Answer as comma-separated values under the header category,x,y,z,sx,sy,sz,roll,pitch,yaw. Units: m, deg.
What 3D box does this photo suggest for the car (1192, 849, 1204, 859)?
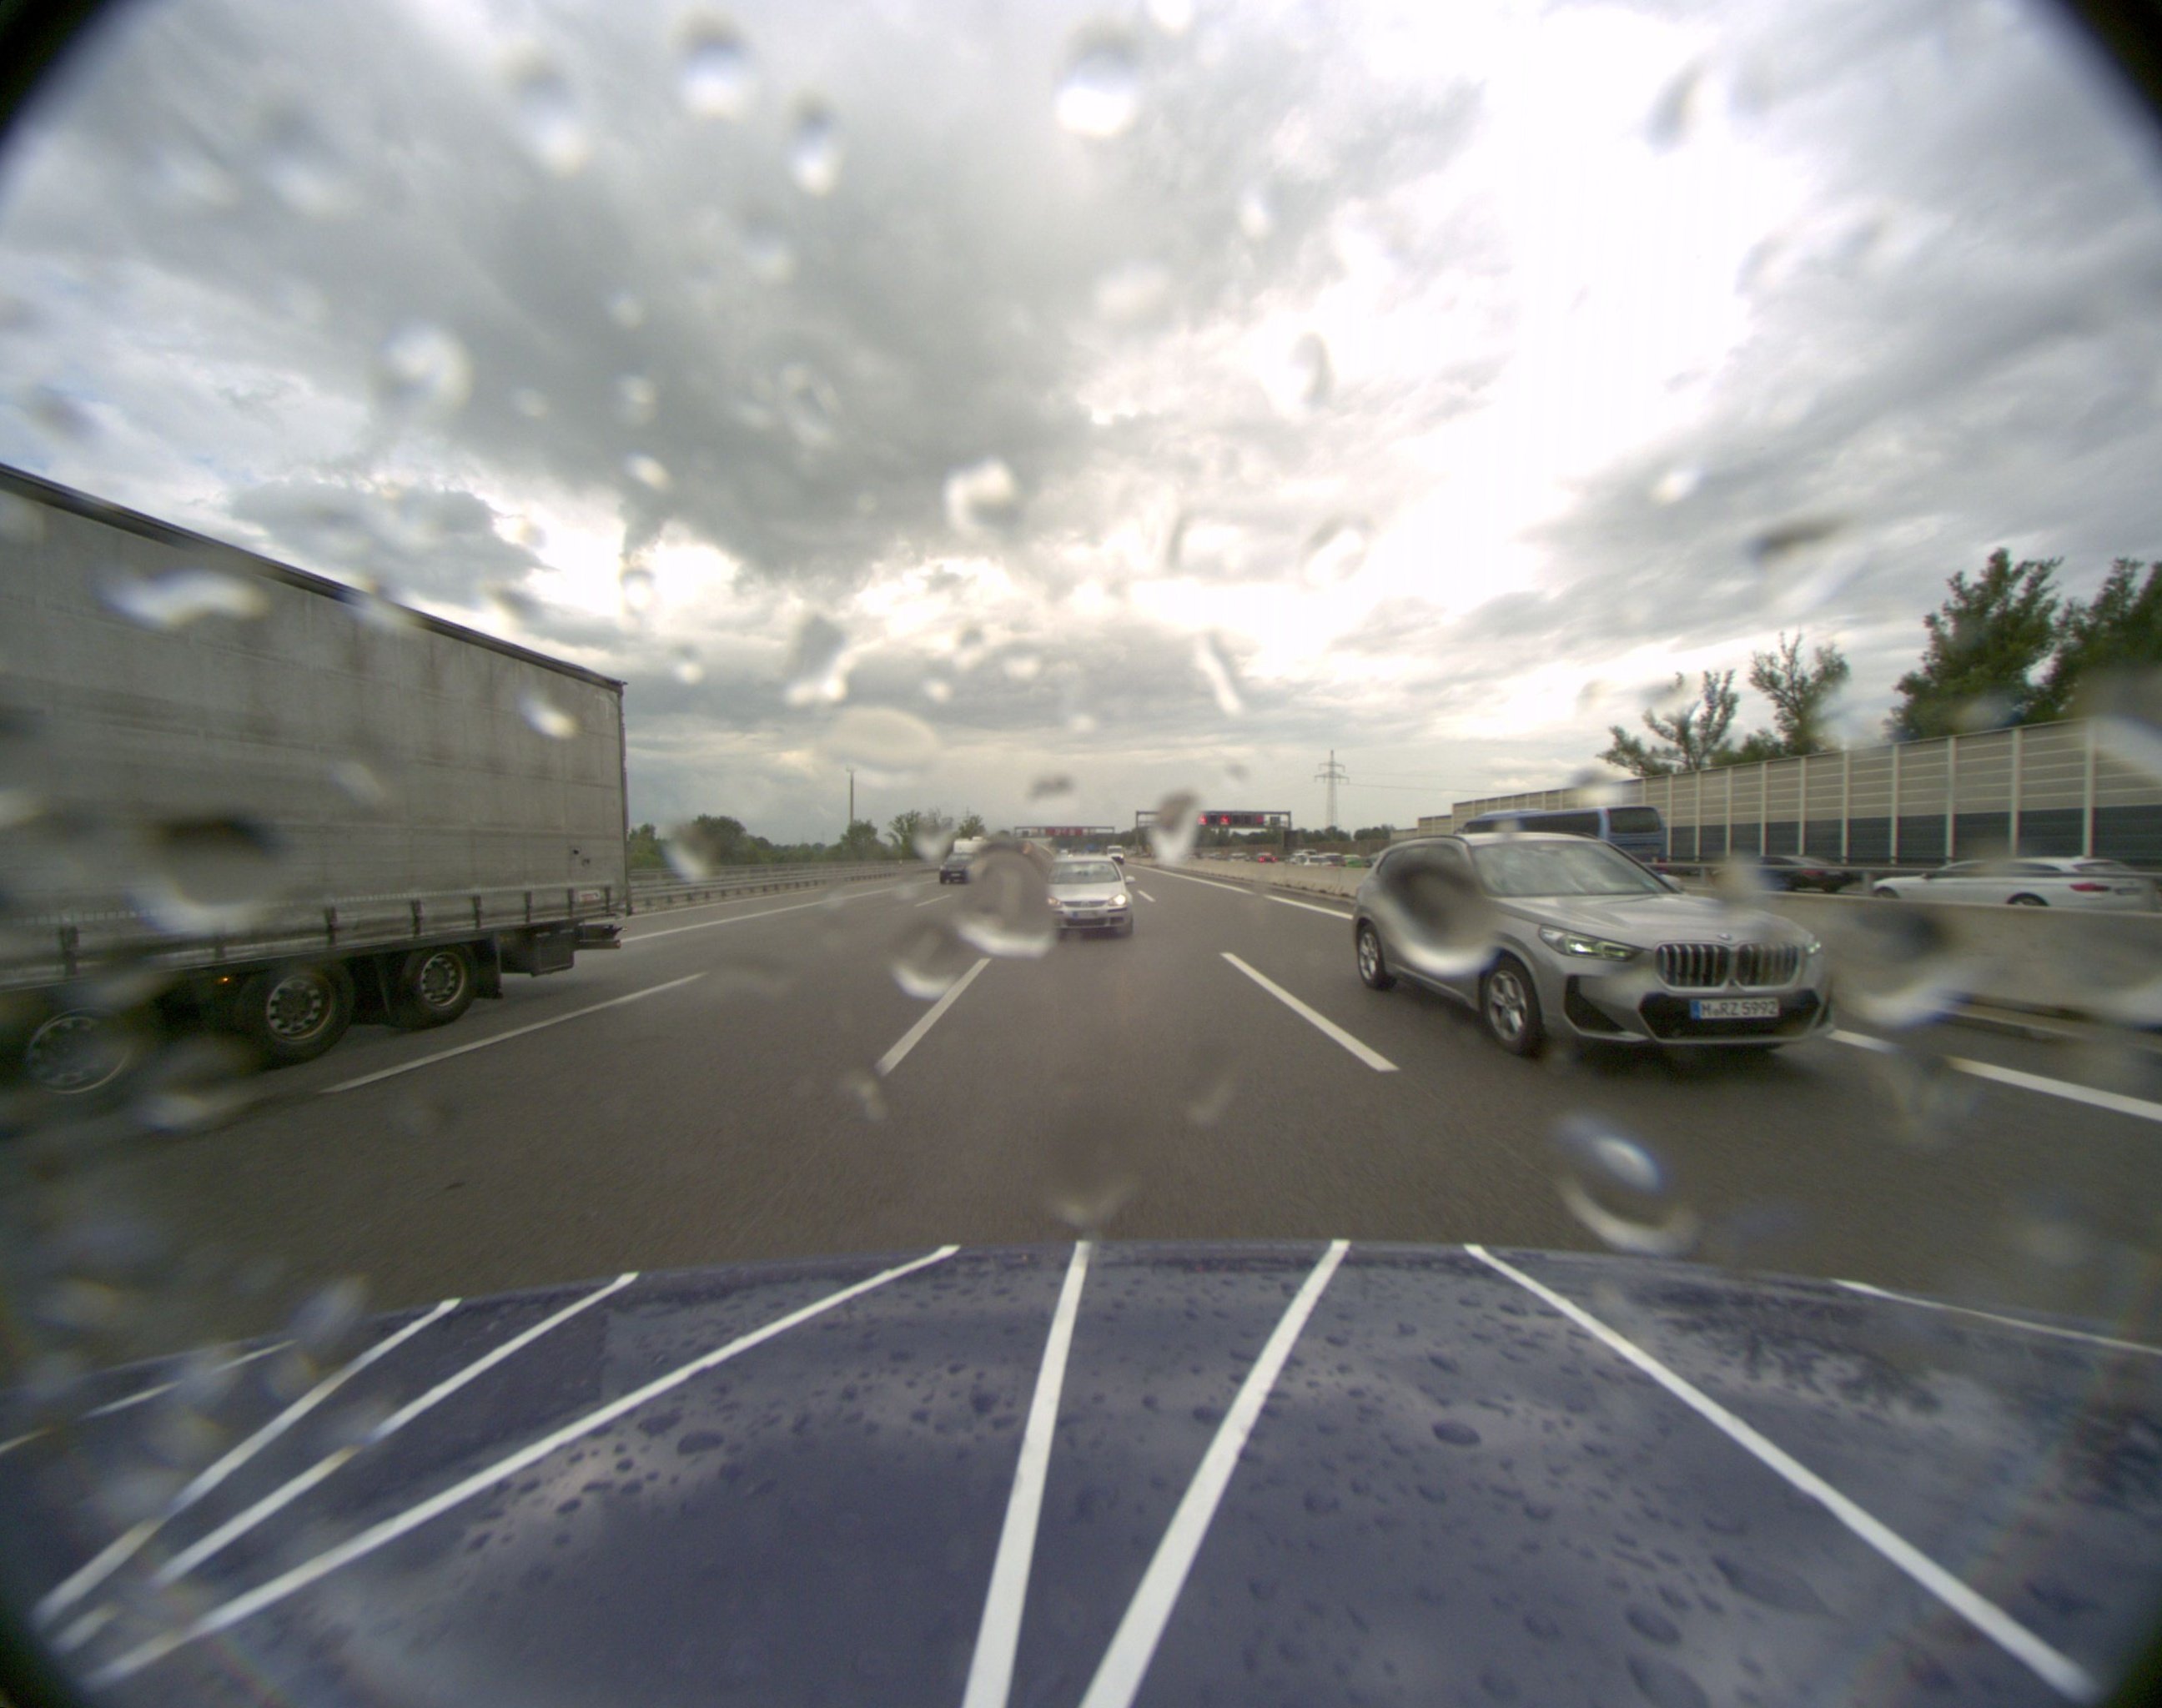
category,x,y,z,sx,sy,sz,roll,pitch,yaw
car,22.430,0.004,145.778,1.752,1.837,4.165,-1,0,-1

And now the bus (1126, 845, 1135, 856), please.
category,x,y,z,sx,sy,sz,roll,pitch,yaw
bus,17.407,-1.301,266.947,2.661,3.658,10.633,-1,0,0

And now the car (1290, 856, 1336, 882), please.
category,x,y,z,sx,sy,sz,roll,pitch,yaw
car,14.930,0.936,49.124,1.752,1.516,4.177,-1,0,1

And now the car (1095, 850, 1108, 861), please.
category,x,y,z,sx,sy,sz,roll,pitch,yaw
car,3.637,0.279,136.268,1.999,2.002,3.999,-2,0,-2

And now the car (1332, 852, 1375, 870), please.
category,x,y,z,sx,sy,sz,roll,pitch,yaw
car,22.270,0.575,62.259,1.752,1.422,4.715,-1,0,-1

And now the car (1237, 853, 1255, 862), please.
category,x,y,z,sx,sy,sz,roll,pitch,yaw
car,26.998,0.621,124.343,1.869,1.392,4.573,-1,0,-1

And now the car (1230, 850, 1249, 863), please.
category,x,y,z,sx,sy,sz,roll,pitch,yaw
car,19.017,0.265,91.280,1.625,1.571,3.619,-1,0,1

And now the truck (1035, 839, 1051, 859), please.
category,x,y,z,sx,sy,sz,roll,pitch,yaw
truck,-7.306,-0.900,147.120,2.870,3.633,9.593,-2,0,-1

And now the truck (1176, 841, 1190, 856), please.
category,x,y,z,sx,sy,sz,roll,pitch,yaw
truck,26.280,-1.357,195.337,2.759,3.865,6.050,-1,0,0

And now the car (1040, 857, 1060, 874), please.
category,x,y,z,sx,sy,sz,roll,pitch,yaw
car,-2.923,1.066,72.048,1.841,1.437,3.999,-1,0,-1

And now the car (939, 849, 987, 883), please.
category,x,y,z,sx,sy,sz,roll,pitch,yaw
car,-6.620,0.631,43.199,1.925,1.765,4.502,-2,0,1

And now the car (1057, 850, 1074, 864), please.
category,x,y,z,sx,sy,sz,roll,pitch,yaw
car,-1.992,0.354,97.297,1.999,1.701,3.999,-2,0,-2

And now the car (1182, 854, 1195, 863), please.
category,x,y,z,sx,sy,sz,roll,pitch,yaw
car,18.405,0.756,130.426,1.751,1.621,4.166,-1,0,2

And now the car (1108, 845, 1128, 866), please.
category,x,y,z,sx,sy,sz,roll,pitch,yaw
car,4.515,0.181,93.781,1.999,2.524,4.807,-2,0,-2

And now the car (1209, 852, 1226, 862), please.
category,x,y,z,sx,sy,sz,roll,pitch,yaw
car,22.165,0.447,123.628,1.826,1.621,4.525,-1,0,0

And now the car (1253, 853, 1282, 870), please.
category,x,y,z,sx,sy,sz,roll,pitch,yaw
car,19.161,0.747,78.223,1.939,1.601,4.177,-1,0,1

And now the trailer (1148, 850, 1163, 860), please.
category,x,y,z,sx,sy,sz,roll,pitch,yaw
trailer,13.904,0.204,142.027,2.149,1.699,6.046,-1,0,0

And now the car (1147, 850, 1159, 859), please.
category,x,y,z,sx,sy,sz,roll,pitch,yaw
car,14.017,0.141,147.471,1.821,1.699,4.806,-1,0,0

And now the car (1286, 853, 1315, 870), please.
category,x,y,z,sx,sy,sz,roll,pitch,yaw
car,22.027,0.722,76.426,1.752,1.601,4.177,-1,0,1

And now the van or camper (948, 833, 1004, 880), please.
category,x,y,z,sx,sy,sz,roll,pitch,yaw
van or camper,-6.638,0.177,49.055,2.390,2.722,7.209,-2,0,1

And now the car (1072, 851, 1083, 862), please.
category,x,y,z,sx,sy,sz,roll,pitch,yaw
car,-0.706,0.489,153.729,1.999,2.002,3.999,-2,0,-2

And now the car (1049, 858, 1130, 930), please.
category,x,y,z,sx,sy,sz,roll,pitch,yaw
car,0.128,0.866,18.182,1.683,1.437,3.999,-1,0,-1

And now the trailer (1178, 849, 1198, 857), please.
category,x,y,z,sx,sy,sz,roll,pitch,yaw
trailer,26.246,-0.291,186.740,2.759,1.818,16.348,-1,0,0

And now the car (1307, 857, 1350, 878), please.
category,x,y,z,sx,sy,sz,roll,pitch,yaw
car,18.961,1.018,58.390,1.752,1.516,4.927,-1,0,1

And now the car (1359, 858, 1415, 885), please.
category,x,y,z,sx,sy,sz,roll,pitch,yaw
car,18.508,1.017,46.087,1.752,1.516,4.177,-1,0,1

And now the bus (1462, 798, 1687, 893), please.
category,x,y,z,sx,sy,sz,roll,pitch,yaw
bus,22.533,-0.328,36.049,3.100,3.736,11.881,-1,0,1

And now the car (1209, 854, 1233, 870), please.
category,x,y,z,sx,sy,sz,roll,pitch,yaw
car,14.770,0.817,80.299,1.752,1.598,4.177,-1,0,1

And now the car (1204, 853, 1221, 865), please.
category,x,y,z,sx,sy,sz,roll,pitch,yaw
car,18.625,0.723,107.883,1.751,1.621,4.166,-1,0,2

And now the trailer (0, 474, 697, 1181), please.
category,x,y,z,sx,sy,sz,roll,pitch,yaw
trailer,-7.590,-0.125,4.916,2.969,3.996,14.118,-2,0,0

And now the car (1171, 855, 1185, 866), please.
category,x,y,z,sx,sy,sz,roll,pitch,yaw
car,14.945,0.986,117.322,1.752,1.621,3.748,-1,0,1

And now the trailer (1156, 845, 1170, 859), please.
category,x,y,z,sx,sy,sz,roll,pitch,yaw
trailer,18.859,-0.505,175.453,2.455,3.120,6.050,-1,0,0

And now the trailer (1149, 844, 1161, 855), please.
category,x,y,z,sx,sy,sz,roll,pitch,yaw
trailer,25.803,-1.632,265.184,3.037,3.910,12.973,-1,0,0

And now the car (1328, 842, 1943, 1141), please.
category,x,y,z,sx,sy,sz,roll,pitch,yaw
car,3.867,0.768,6.659,1.840,1.615,4.915,-1,0,1

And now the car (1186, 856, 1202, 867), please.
category,x,y,z,sx,sy,sz,roll,pitch,yaw
car,14.966,0.956,100.922,1.576,1.386,3.575,-1,0,1

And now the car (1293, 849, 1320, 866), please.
category,x,y,z,sx,sy,sz,roll,pitch,yaw
car,26.488,0.419,89.359,1.752,1.882,4.782,-1,0,0

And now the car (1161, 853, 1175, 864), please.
category,x,y,z,sx,sy,sz,roll,pitch,yaw
car,14.701,0.729,128.320,1.885,1.734,5.110,-1,0,2

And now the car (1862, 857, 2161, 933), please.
category,x,y,z,sx,sy,sz,roll,pitch,yaw
car,21.998,0.856,18.083,1.887,1.516,4.820,-1,0,1

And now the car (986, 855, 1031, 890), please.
category,x,y,z,sx,sy,sz,roll,pitch,yaw
car,-3.223,0.787,34.486,1.718,1.437,3.999,-1,0,-1

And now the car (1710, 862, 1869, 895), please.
category,x,y,z,sx,sy,sz,roll,pitch,yaw
car,26.664,0.879,28.836,1.887,1.107,4.493,-1,0,1

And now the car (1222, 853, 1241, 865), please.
category,x,y,z,sx,sy,sz,roll,pitch,yaw
car,21.141,0.708,107.124,1.752,1.621,4.391,-1,0,-1
